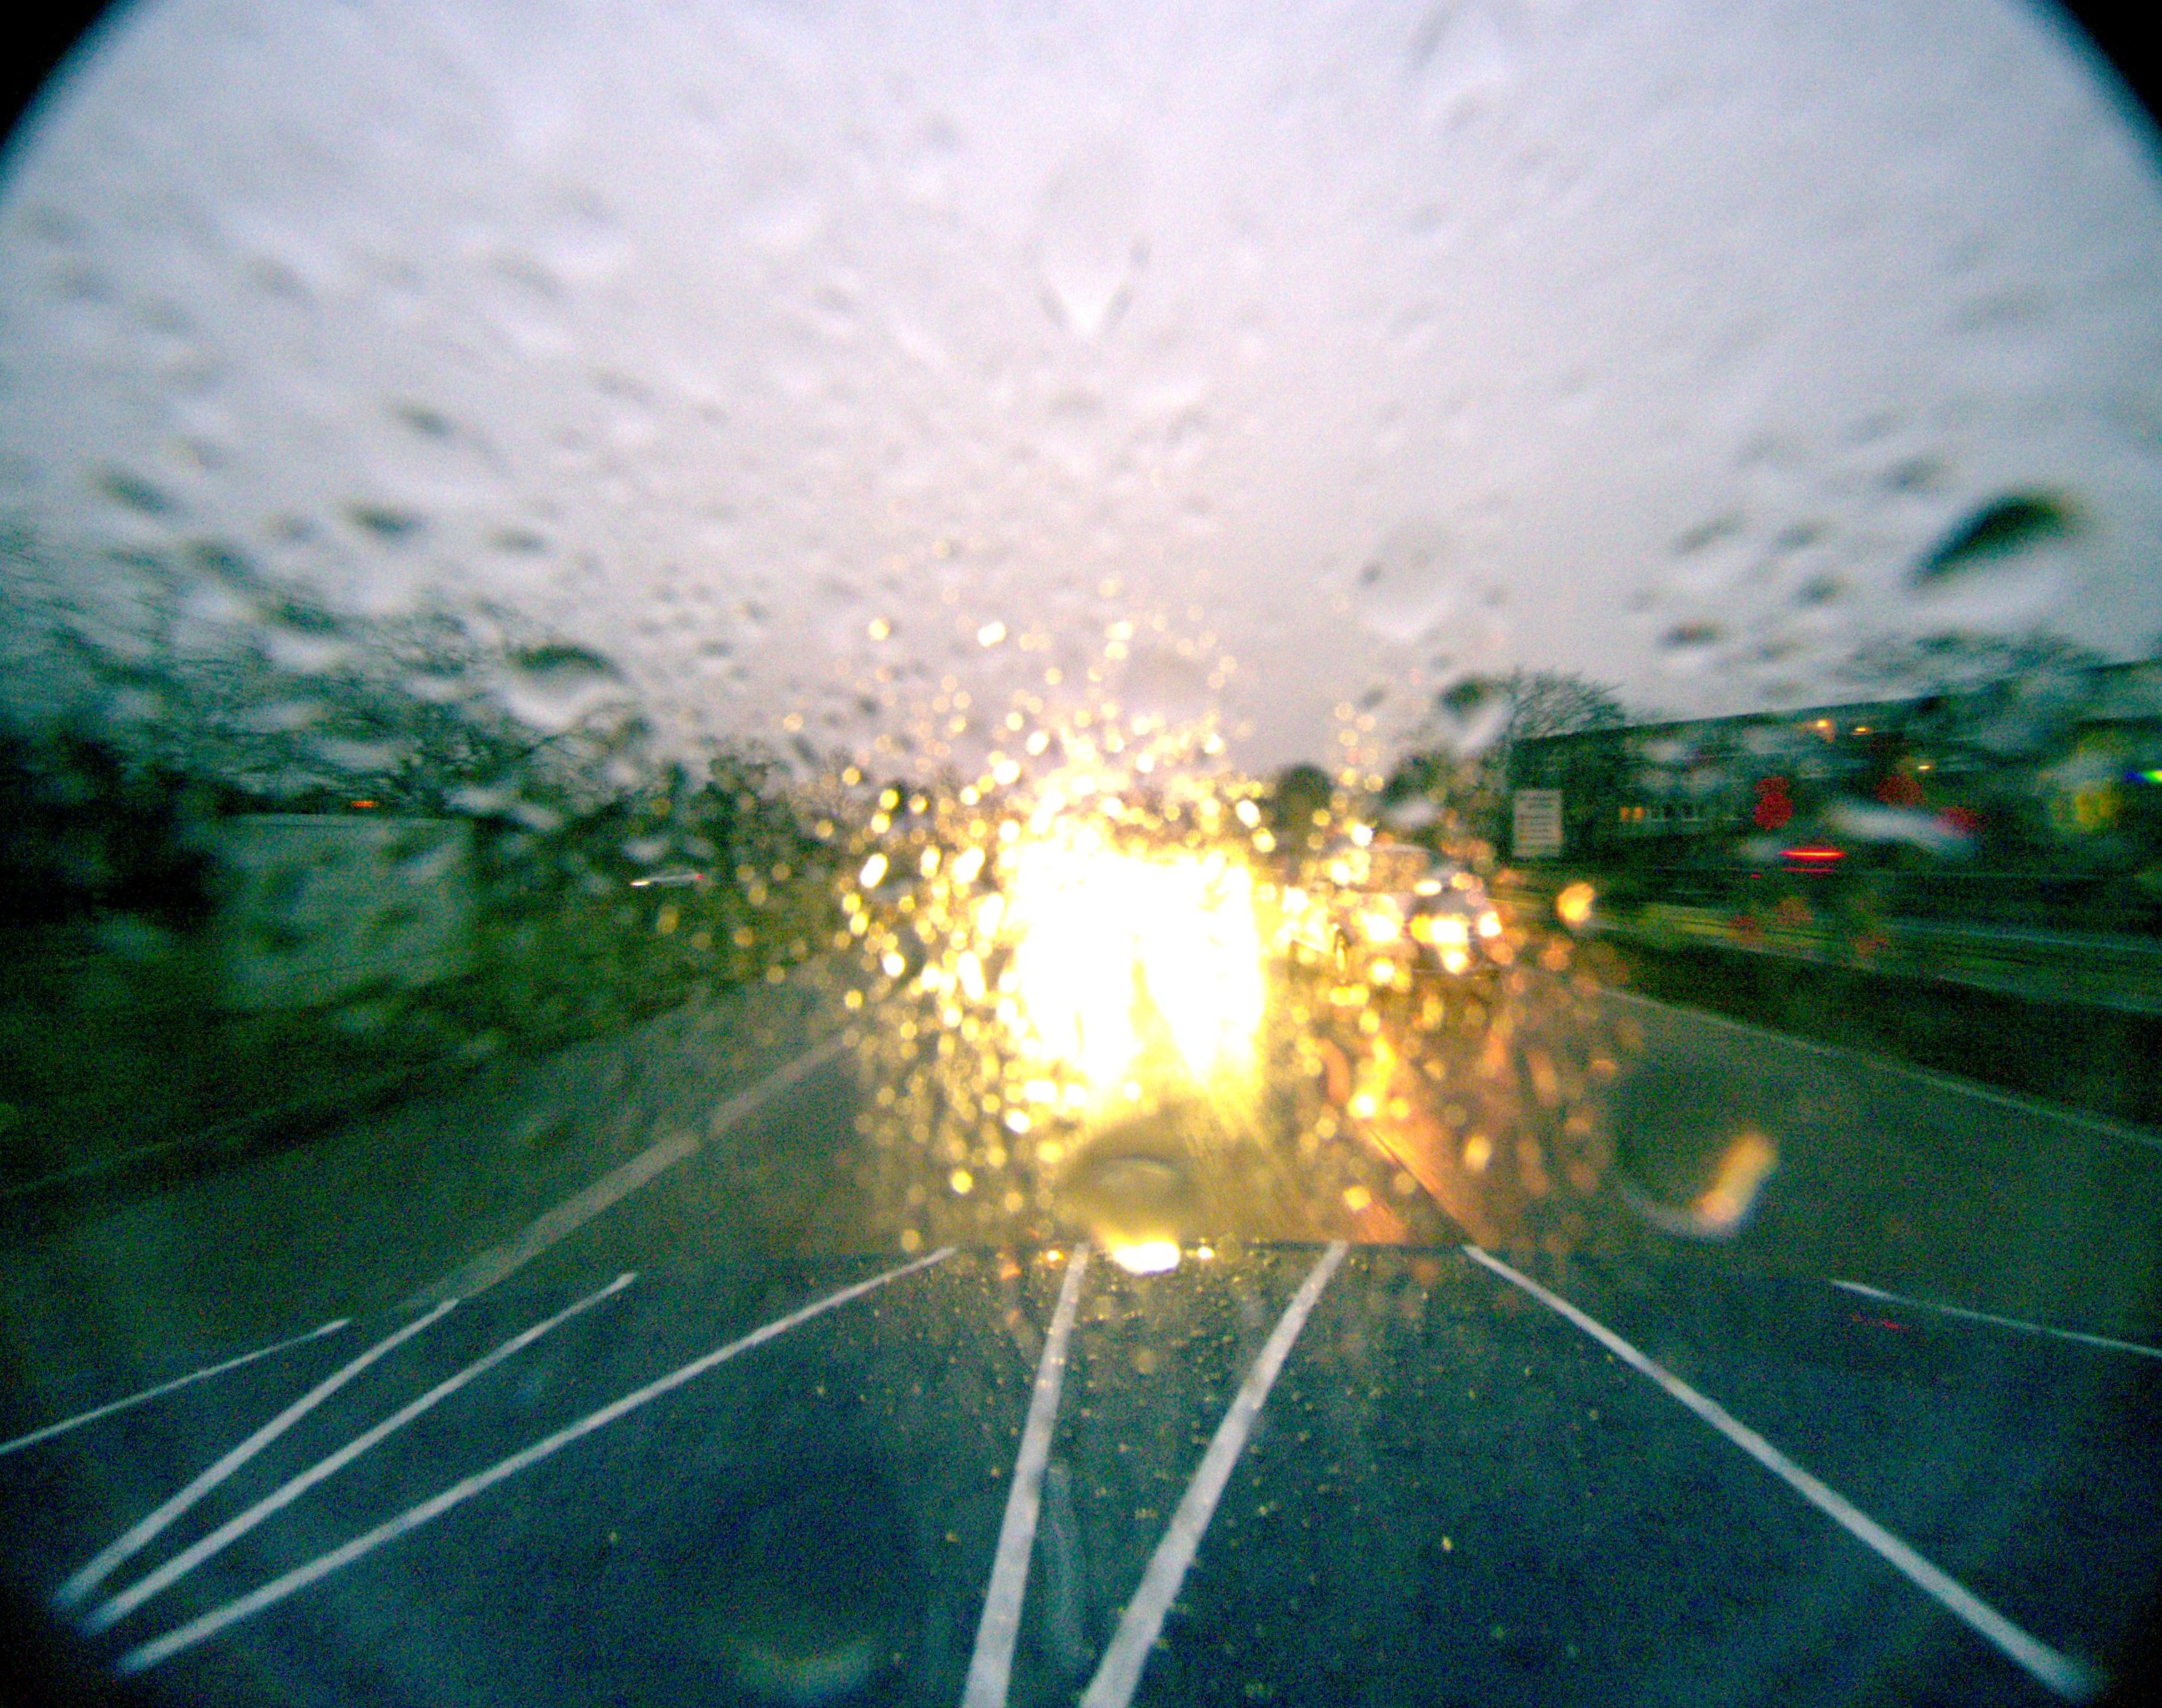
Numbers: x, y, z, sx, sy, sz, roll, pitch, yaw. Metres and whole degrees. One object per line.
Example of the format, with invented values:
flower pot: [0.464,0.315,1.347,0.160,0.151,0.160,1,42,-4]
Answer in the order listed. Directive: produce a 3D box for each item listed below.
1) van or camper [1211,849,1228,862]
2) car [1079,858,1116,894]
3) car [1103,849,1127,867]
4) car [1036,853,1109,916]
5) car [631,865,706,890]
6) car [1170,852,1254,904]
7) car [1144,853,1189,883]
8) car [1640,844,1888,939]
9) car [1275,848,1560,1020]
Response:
van or camper: [20.172,0.168,110.877,1.765,1.725,4.884,-2,0,4]
car: [0.854,1.049,37.694,1.728,1.573,3.791,-1,1,2]
car: [3.349,0.403,74.983,1.853,1.610,3.949,-2,1,-4]
car: [-0.176,0.779,21.225,1.830,1.524,4.000,-1,1,1]
car: [-26.314,1.447,48.527,1.724,1.426,3.798,0,1,34]
car: [4.169,0.712,24.876,2.026,1.522,4.145,-1,1,0]
car: [4.185,0.650,37.705,1.697,1.327,3.999,-2,1,0]
car: [15.716,0.774,17.878,1.998,1.907,4.286,-2,0,1]
car: [3.720,0.751,9.297,1.765,1.590,4.165,-1,1,2]
